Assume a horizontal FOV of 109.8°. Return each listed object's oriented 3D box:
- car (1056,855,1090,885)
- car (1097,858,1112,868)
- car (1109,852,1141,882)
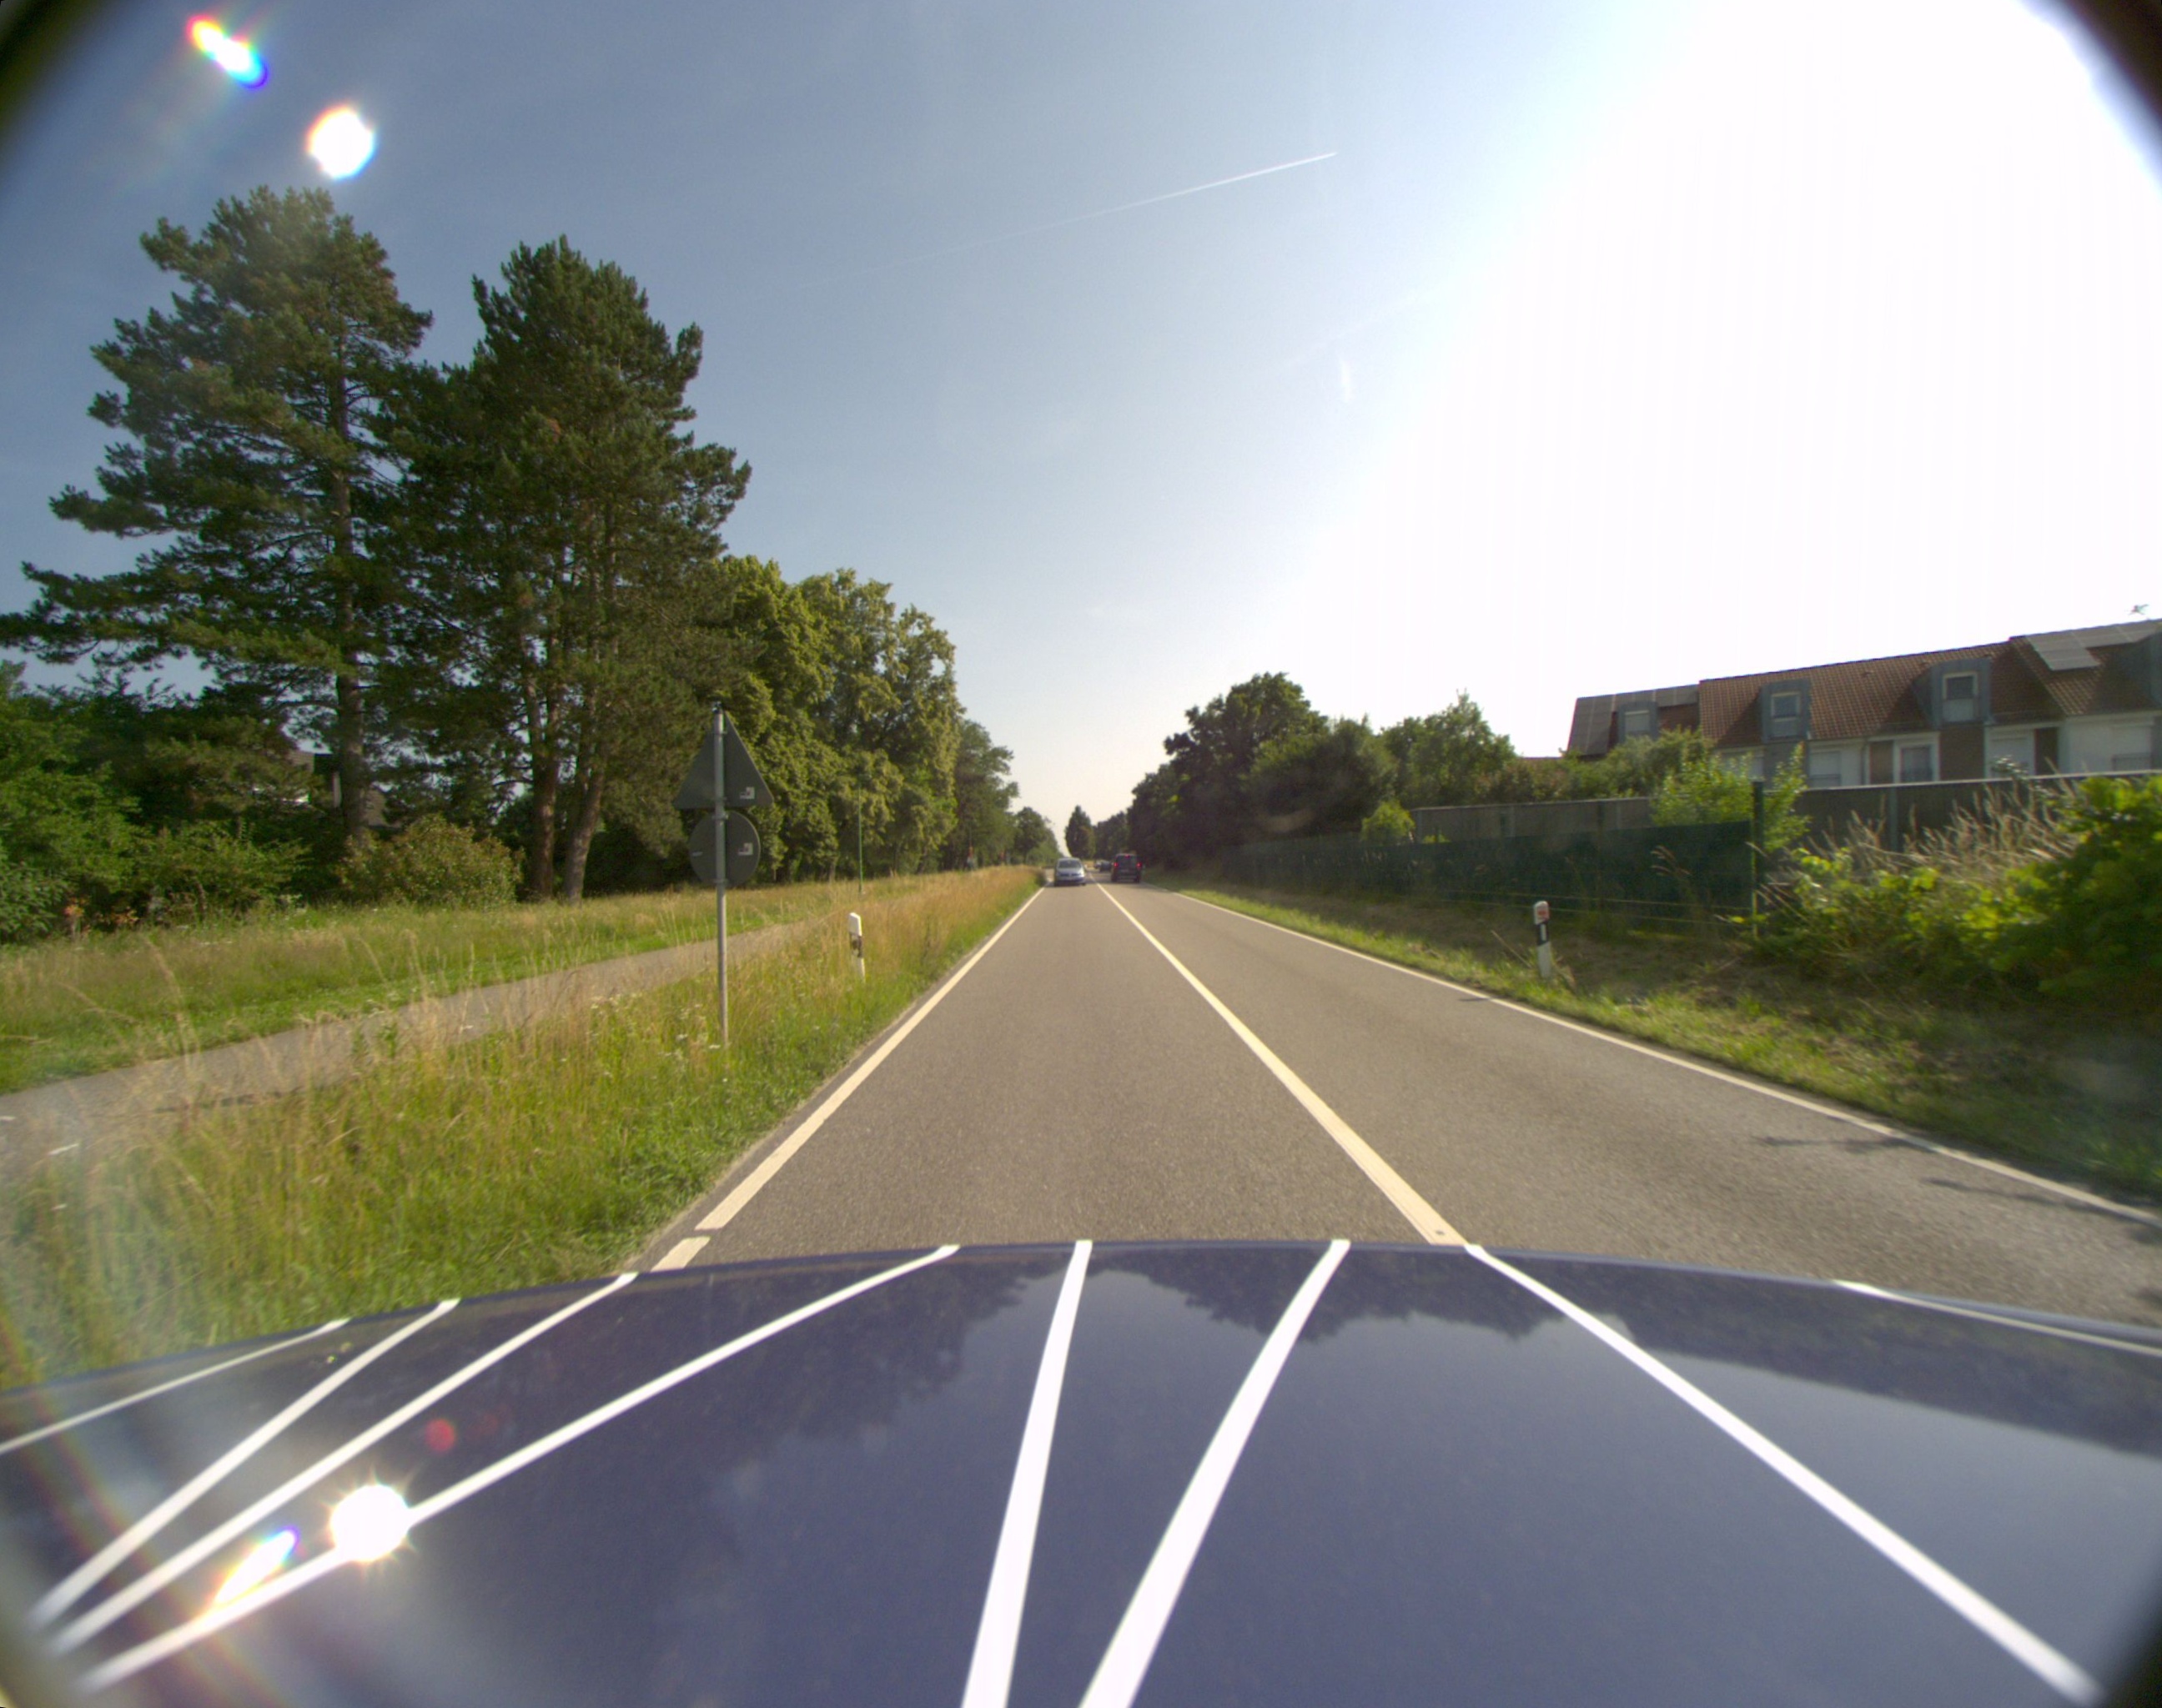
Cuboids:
[{"bbox_3d":[-0.492,0.899,43.527,1.809,1.592,4.269,-1,0,-1],"label":"car"},{"bbox_3d":[3.377,1.282,110.408,1.875,1.415,4.576,1,0,-1],"label":"car"},{"bbox_3d":[2.798,0.826,48.914,1.944,1.807,4.242,1,0,2],"label":"car"}]
